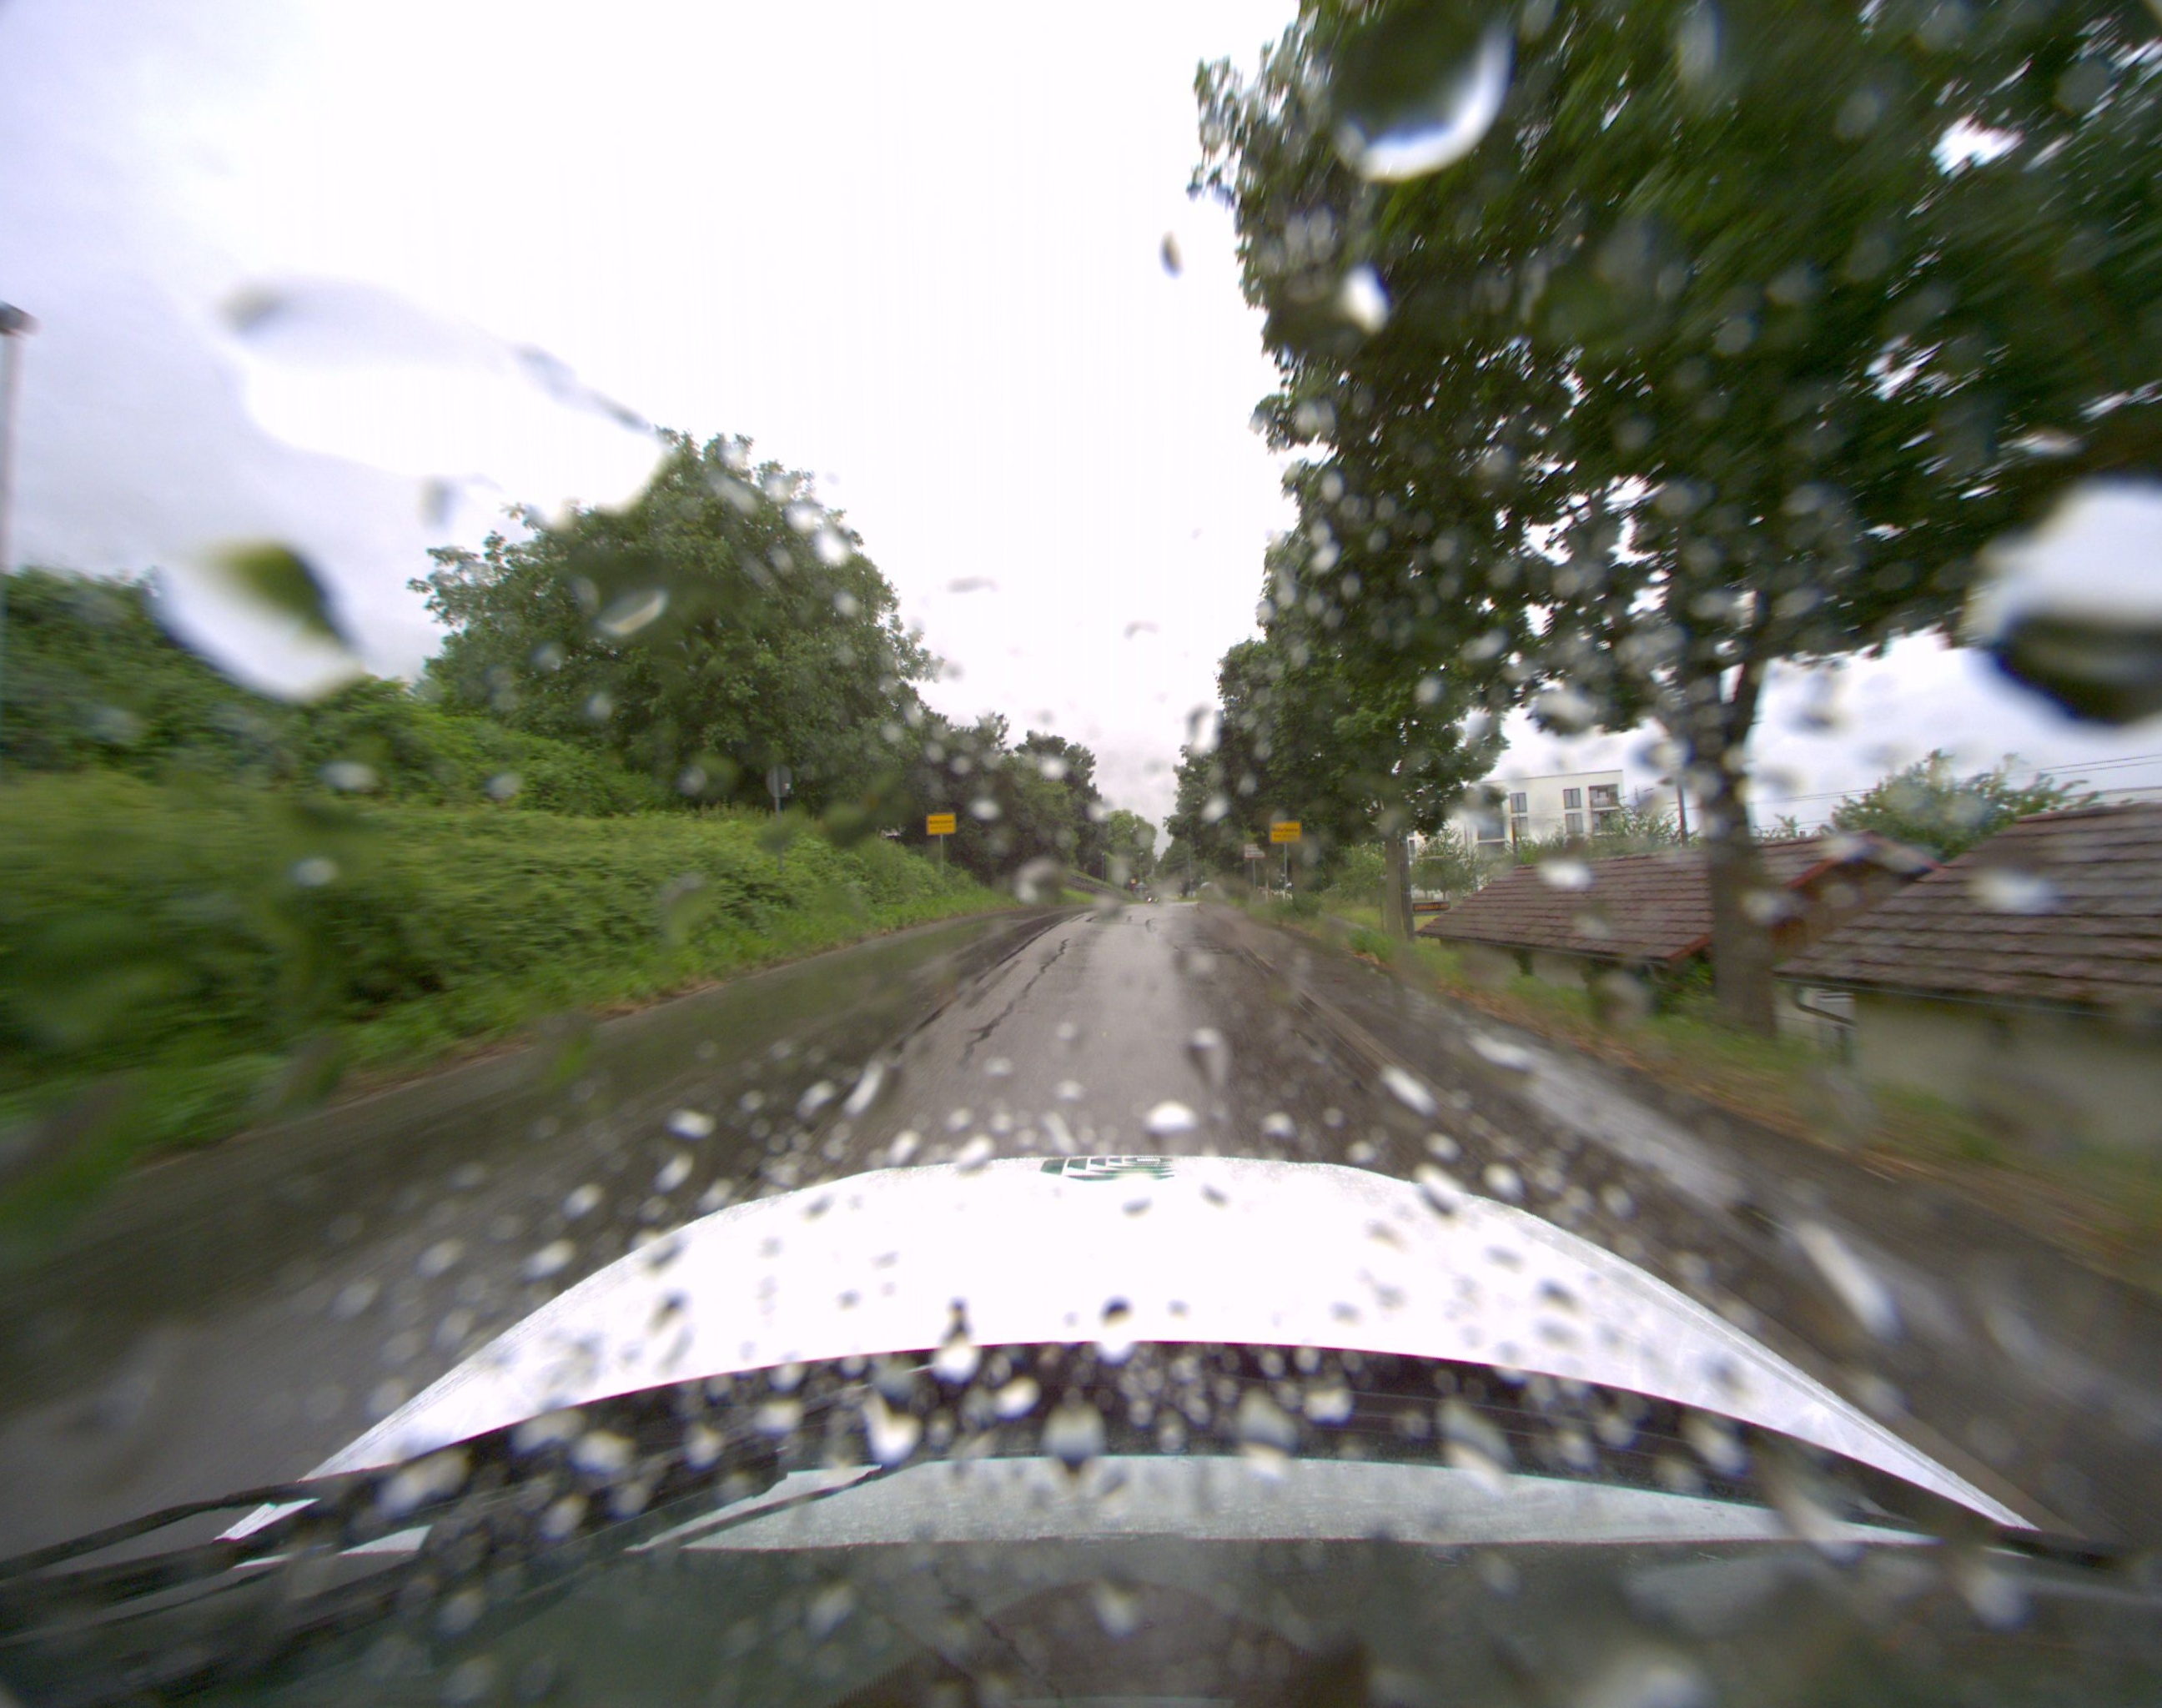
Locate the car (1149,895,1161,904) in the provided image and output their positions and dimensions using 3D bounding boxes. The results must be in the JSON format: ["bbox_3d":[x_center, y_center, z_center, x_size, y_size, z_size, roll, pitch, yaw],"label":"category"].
[{"bbox_3d":[13.106,8.001,143.860,1.754,1.503,4.141,-3,-4,2],"label":"car"}]

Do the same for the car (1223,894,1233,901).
[{"bbox_3d":[34.572,10.142,191.407,1.682,1.438,3.612,-2,-2,1],"label":"car"}]
